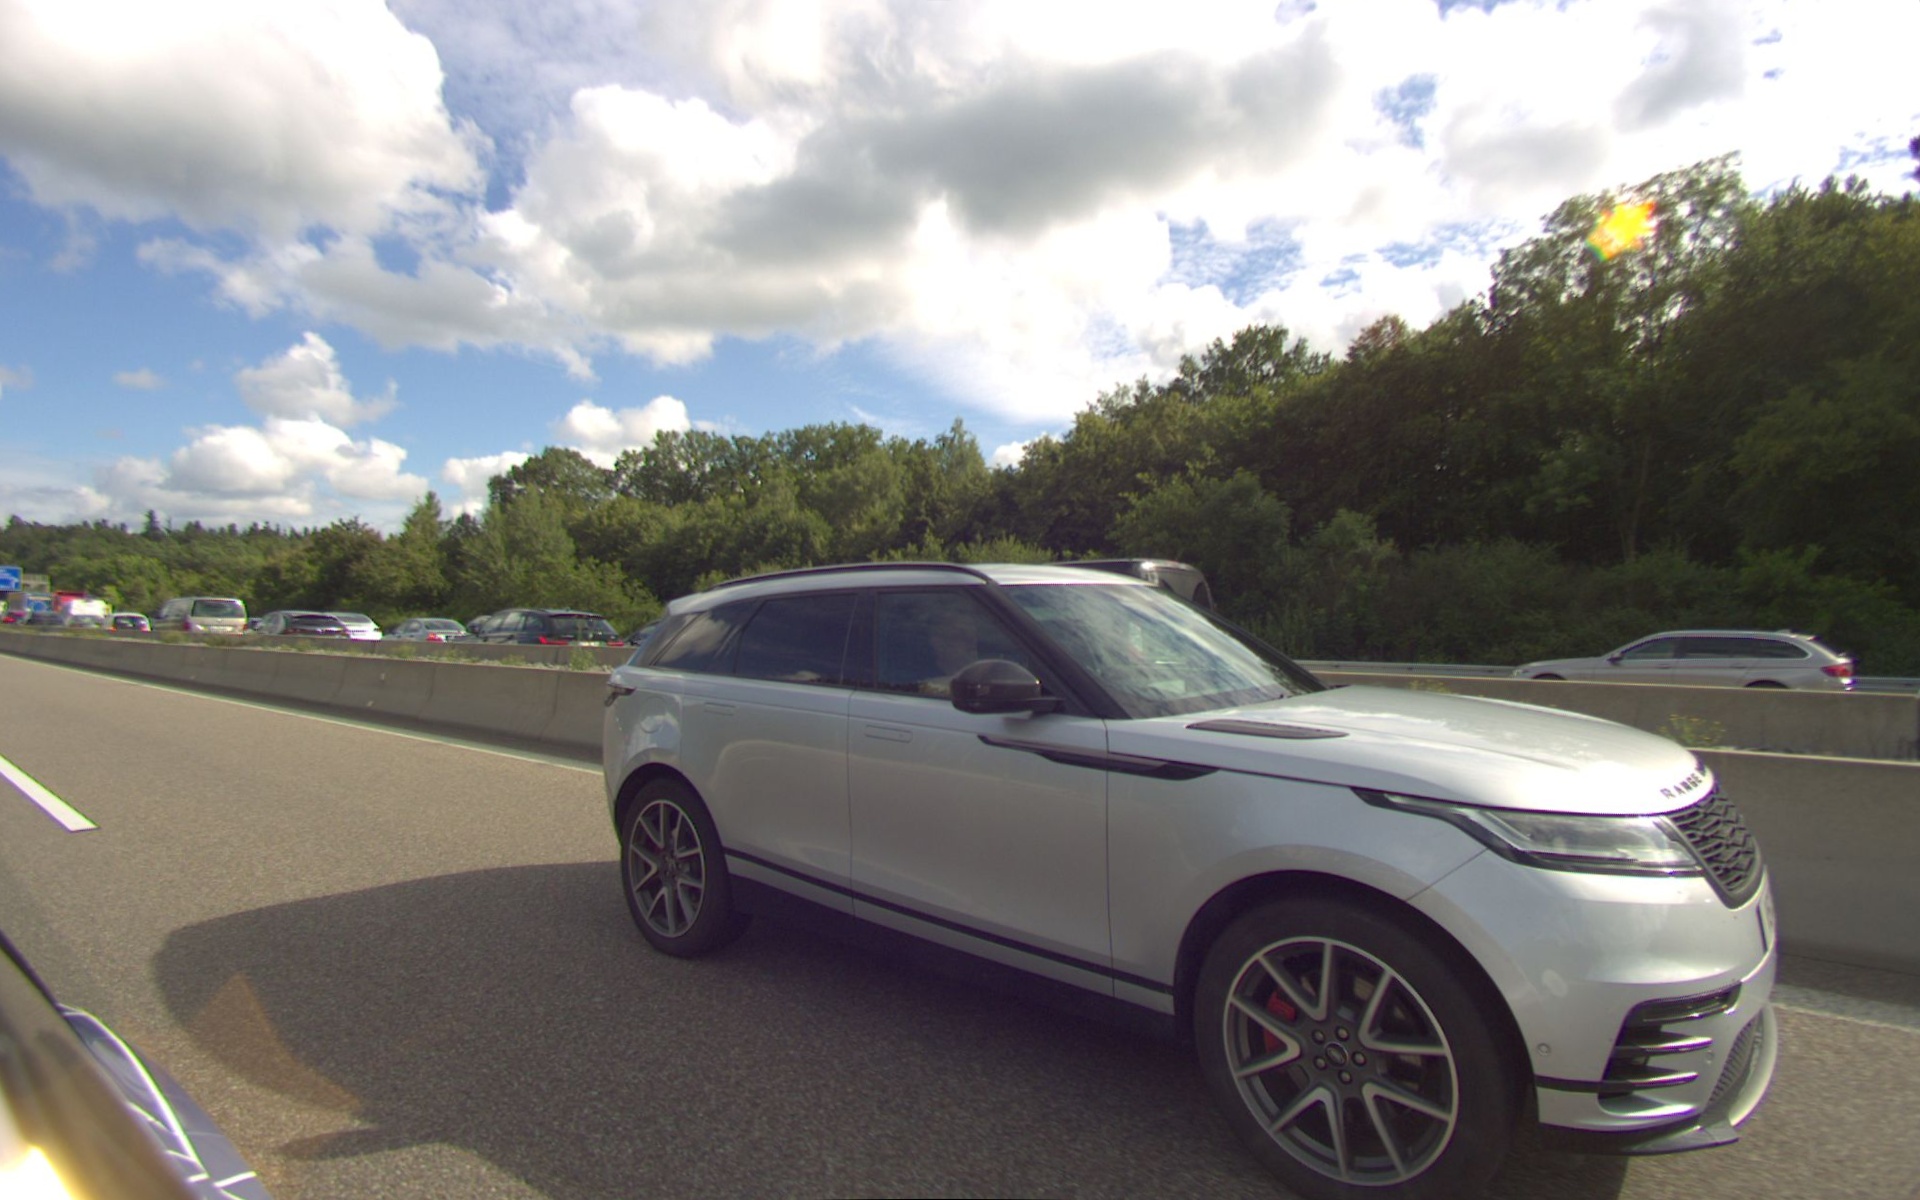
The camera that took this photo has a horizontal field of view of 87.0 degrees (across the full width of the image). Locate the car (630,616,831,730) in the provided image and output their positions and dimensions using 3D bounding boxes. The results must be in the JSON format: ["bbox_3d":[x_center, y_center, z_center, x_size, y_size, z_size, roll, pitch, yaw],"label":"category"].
[{"bbox_3d":[-4.958,1.424,21.524,4.458,2.029,1.972,1,1,42],"label":"car"}]

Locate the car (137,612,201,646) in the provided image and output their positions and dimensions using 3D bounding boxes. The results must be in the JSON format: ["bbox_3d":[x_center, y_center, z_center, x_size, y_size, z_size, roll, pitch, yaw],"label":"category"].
[{"bbox_3d":[-42.161,1.488,53.934,4.524,1.608,1.972,1,1,42],"label":"car"}]

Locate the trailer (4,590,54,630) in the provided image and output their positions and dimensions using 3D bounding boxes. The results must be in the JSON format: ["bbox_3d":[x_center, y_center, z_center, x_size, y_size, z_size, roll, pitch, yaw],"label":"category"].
[{"bbox_3d":[-109.199,1.068,118.618,13.651,4.266,2.743,1,1,40],"label":"trailer"}]

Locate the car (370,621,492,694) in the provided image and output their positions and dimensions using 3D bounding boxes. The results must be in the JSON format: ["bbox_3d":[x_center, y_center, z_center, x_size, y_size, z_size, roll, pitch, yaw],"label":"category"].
[{"bbox_3d":[-16.509,1.713,31.491,4.458,2.029,1.972,0,0,42],"label":"car"}]

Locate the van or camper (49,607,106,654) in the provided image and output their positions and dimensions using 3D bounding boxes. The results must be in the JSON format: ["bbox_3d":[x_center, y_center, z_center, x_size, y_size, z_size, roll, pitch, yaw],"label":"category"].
[{"bbox_3d":[-63.516,2.170,72.792,6.240,3.196,2.117,-1,0,40],"label":"van or camper"}]

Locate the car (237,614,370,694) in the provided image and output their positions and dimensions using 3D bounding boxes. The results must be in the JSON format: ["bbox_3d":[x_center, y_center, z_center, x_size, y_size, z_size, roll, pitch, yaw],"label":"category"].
[{"bbox_3d":[-17.953,1.389,27.616,4.458,1.919,1.972,0,1,42],"label":"car"}]

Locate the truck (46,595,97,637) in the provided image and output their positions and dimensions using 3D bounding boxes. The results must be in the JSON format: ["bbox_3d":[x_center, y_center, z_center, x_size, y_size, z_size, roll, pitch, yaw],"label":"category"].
[{"bbox_3d":[-86.958,1.505,98.976,6.848,3.968,2.748,-1,0,40],"label":"truck"}]

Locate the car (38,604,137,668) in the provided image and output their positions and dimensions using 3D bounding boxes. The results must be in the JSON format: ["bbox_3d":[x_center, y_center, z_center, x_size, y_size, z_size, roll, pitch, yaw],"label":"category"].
[{"bbox_3d":[-28.307,1.144,32.799,3.999,1.935,1.972,-2,-1,42],"label":"car"}]

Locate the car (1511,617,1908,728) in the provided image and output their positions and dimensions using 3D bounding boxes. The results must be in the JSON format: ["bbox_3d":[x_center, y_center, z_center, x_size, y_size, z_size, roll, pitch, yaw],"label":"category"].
[{"bbox_3d":[12.096,1.064,16.667,5.072,1.411,1.694,1,1,42],"label":"car"}]

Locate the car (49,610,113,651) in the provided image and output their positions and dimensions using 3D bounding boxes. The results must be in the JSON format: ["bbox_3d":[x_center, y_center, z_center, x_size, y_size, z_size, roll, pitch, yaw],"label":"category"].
[{"bbox_3d":[-45.048,1.552,51.812,5.090,2.029,1.885,-1,-2,42],"label":"car"}]

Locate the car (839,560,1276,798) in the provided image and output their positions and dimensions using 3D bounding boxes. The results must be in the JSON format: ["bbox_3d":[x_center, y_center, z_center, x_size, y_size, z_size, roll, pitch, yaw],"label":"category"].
[{"bbox_3d":[0.853,0.633,10.760,4.451,2.029,1.797,1,1,42],"label":"car"}]

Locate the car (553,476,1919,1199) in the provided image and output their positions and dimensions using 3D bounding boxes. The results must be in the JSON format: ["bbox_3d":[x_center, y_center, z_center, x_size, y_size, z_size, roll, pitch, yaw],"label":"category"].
[{"bbox_3d":[0.590,0.610,3.839,5.103,1.619,1.880,0,0,41],"label":"car"}]

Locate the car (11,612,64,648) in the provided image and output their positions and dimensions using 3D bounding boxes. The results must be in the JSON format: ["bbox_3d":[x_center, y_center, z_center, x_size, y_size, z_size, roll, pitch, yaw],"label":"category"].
[{"bbox_3d":[-53.973,1.759,59.180,4.518,2.029,1.862,-1,-2,42],"label":"car"}]

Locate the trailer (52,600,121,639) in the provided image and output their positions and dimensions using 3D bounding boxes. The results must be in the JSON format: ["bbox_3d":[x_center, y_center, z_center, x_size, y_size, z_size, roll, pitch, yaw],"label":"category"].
[{"bbox_3d":[-81.652,1.795,94.504,14.209,3.361,2.700,-1,0,40],"label":"trailer"}]

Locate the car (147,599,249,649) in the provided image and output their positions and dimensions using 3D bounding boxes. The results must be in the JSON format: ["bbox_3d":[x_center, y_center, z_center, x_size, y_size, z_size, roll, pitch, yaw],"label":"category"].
[{"bbox_3d":[-26.354,0.823,34.942,4.814,1.584,1.972,-1,0,42],"label":"car"}]

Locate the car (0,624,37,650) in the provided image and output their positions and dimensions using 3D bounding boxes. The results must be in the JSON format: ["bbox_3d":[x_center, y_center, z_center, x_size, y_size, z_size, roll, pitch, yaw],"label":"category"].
[{"bbox_3d":[-64.990,2.505,69.405,4.286,1.603,1.817,-1,-5,40],"label":"car"}]

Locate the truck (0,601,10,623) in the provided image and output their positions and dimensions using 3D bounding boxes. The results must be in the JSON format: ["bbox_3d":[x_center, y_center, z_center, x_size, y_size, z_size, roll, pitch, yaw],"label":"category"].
[{"bbox_3d":[-129.069,1.663,135.237,7.945,2.822,2.304,-1,1,41],"label":"truck"}]

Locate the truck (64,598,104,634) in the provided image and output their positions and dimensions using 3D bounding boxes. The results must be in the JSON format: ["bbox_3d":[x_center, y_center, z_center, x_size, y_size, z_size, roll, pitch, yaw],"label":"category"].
[{"bbox_3d":[-105.297,1.854,121.633,5.449,4.180,2.783,1,1,40],"label":"truck"}]

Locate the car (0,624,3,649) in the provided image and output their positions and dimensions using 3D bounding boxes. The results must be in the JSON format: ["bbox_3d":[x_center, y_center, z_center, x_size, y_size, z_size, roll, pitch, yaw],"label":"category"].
[{"bbox_3d":[-74.094,2.763,76.833,4.293,1.829,1.669,1,1,40],"label":"car"}]

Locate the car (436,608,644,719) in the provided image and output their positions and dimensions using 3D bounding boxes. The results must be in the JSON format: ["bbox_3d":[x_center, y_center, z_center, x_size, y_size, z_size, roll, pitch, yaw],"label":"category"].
[{"bbox_3d":[-8.096,1.090,19.313,4.458,1.772,1.972,1,1,42],"label":"car"}]

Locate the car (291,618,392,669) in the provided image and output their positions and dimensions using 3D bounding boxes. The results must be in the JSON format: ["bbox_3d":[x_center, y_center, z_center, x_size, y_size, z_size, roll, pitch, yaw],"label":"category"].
[{"bbox_3d":[-23.155,1.564,37.786,4.761,1.746,1.972,-1,0,42],"label":"car"}]
